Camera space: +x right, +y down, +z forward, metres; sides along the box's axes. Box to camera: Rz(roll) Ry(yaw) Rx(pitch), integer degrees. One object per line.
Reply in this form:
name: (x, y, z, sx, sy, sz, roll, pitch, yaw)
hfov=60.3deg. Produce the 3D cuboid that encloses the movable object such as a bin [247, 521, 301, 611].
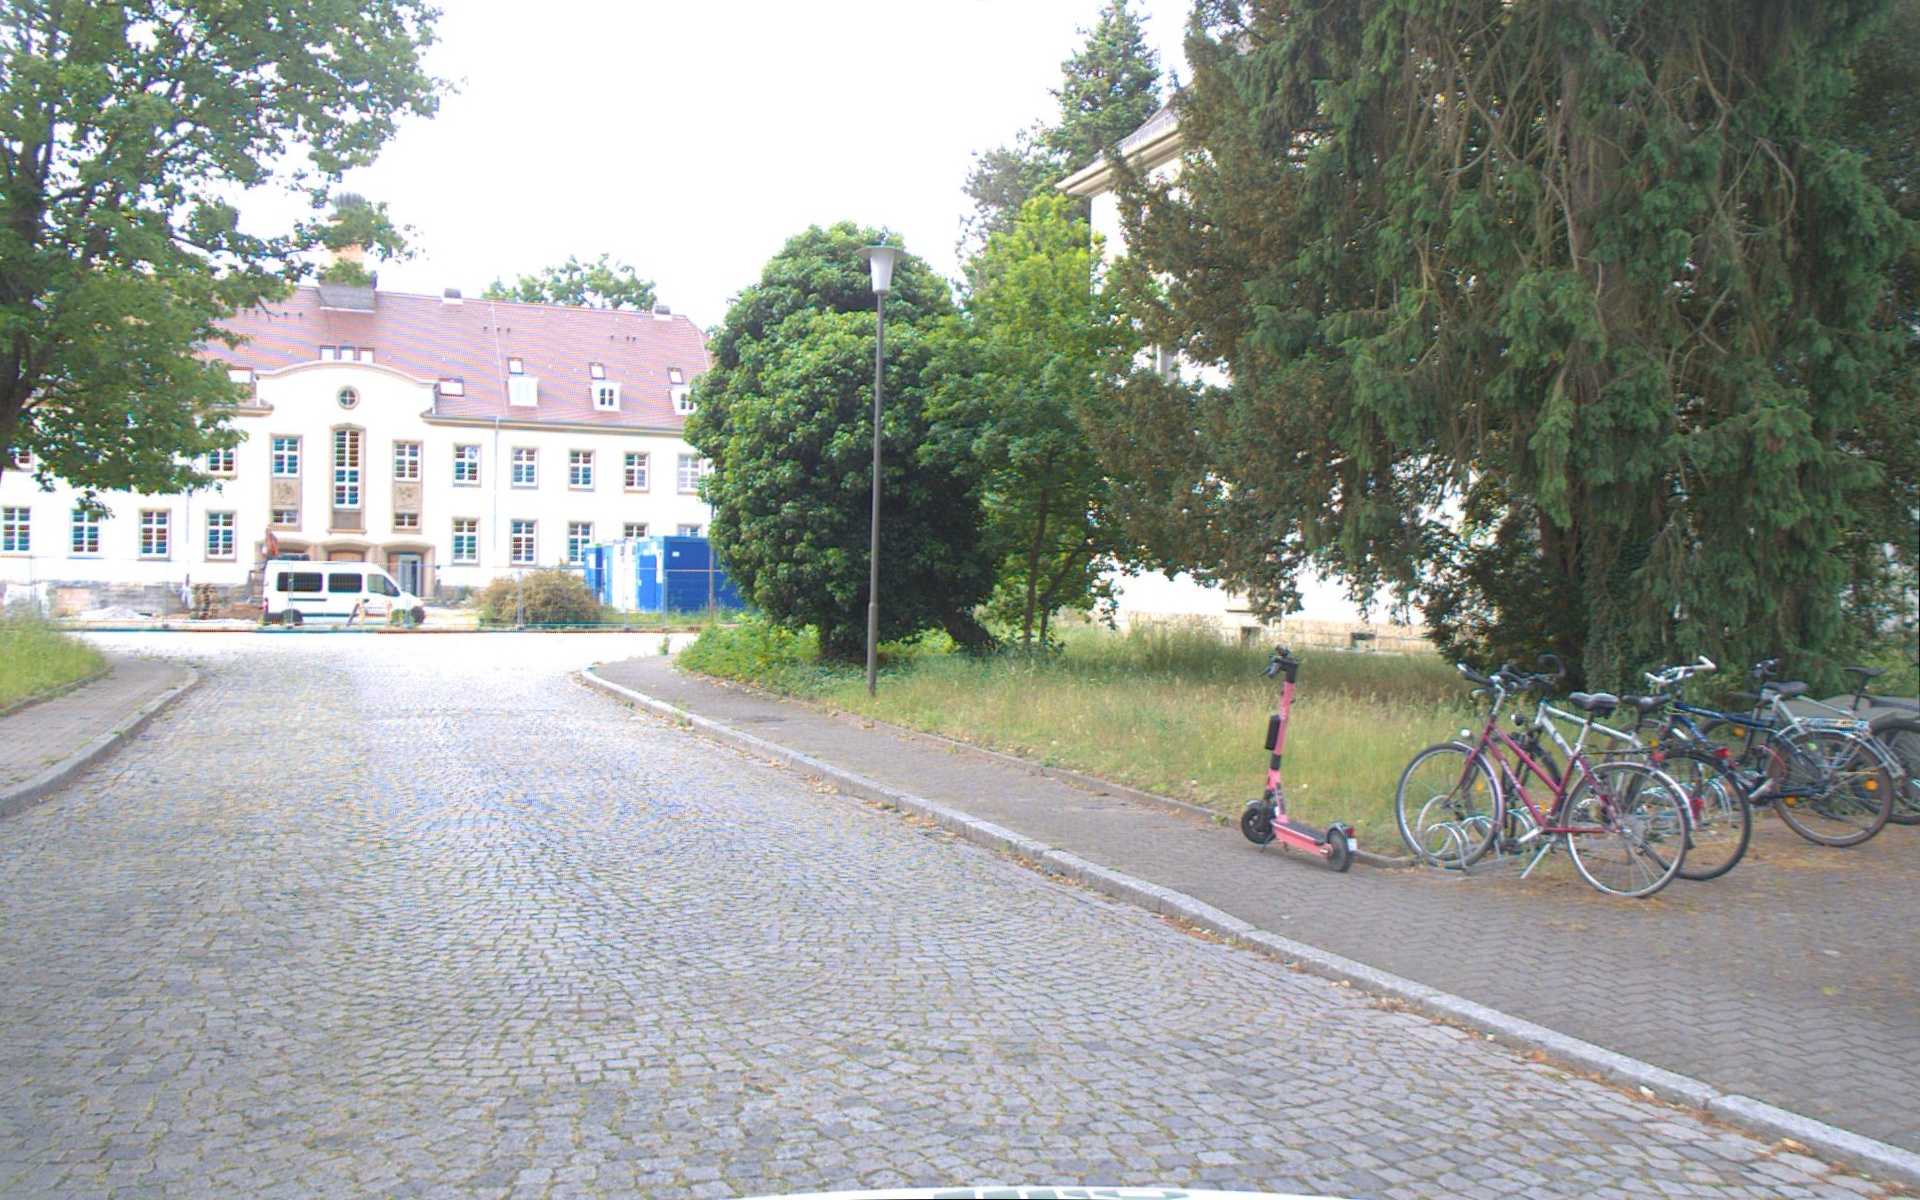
movable object such as a bin: (-30.781, -1.489, 74.183, 1.968, 3.837, 5.275, 1, 0, -25)

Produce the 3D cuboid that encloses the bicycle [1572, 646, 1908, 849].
bicycle: (4.827, 0.870, 10.318, 1.794, 1.083, 0.614, 1, 0, 43)

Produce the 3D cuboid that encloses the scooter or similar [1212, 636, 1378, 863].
scooter or similar: (1.979, 0.853, 9.868, 0.352, 1.231, 1.128, 1, 0, -25)

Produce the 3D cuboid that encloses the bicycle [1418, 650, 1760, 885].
bicycle: (3.522, 0.890, 9.400, 0.546, 1.134, 1.779, 1, 0, -39)

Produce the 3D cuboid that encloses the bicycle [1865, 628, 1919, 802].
bicycle: (7.102, 0.813, 11.142, 0.544, 1.191, 1.737, 1, 0, -29)

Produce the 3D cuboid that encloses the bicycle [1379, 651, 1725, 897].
bicycle: (3.184, 0.888, 9.040, 0.546, 1.134, 1.745, 1, 0, -39)

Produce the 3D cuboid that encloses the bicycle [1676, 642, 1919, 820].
bicycle: (5.889, 0.867, 11.317, 1.724, 1.083, 0.548, 1, 0, 43)

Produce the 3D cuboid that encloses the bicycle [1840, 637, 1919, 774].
bicycle: (7.905, 0.849, 13.011, 0.545, 1.060, 1.662, 1, 0, -35)

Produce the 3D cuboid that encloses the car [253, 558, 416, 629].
car: (-21.600, -0.218, 57.295, 5.186, 2.385, 1.898, 1, 0, -21)
